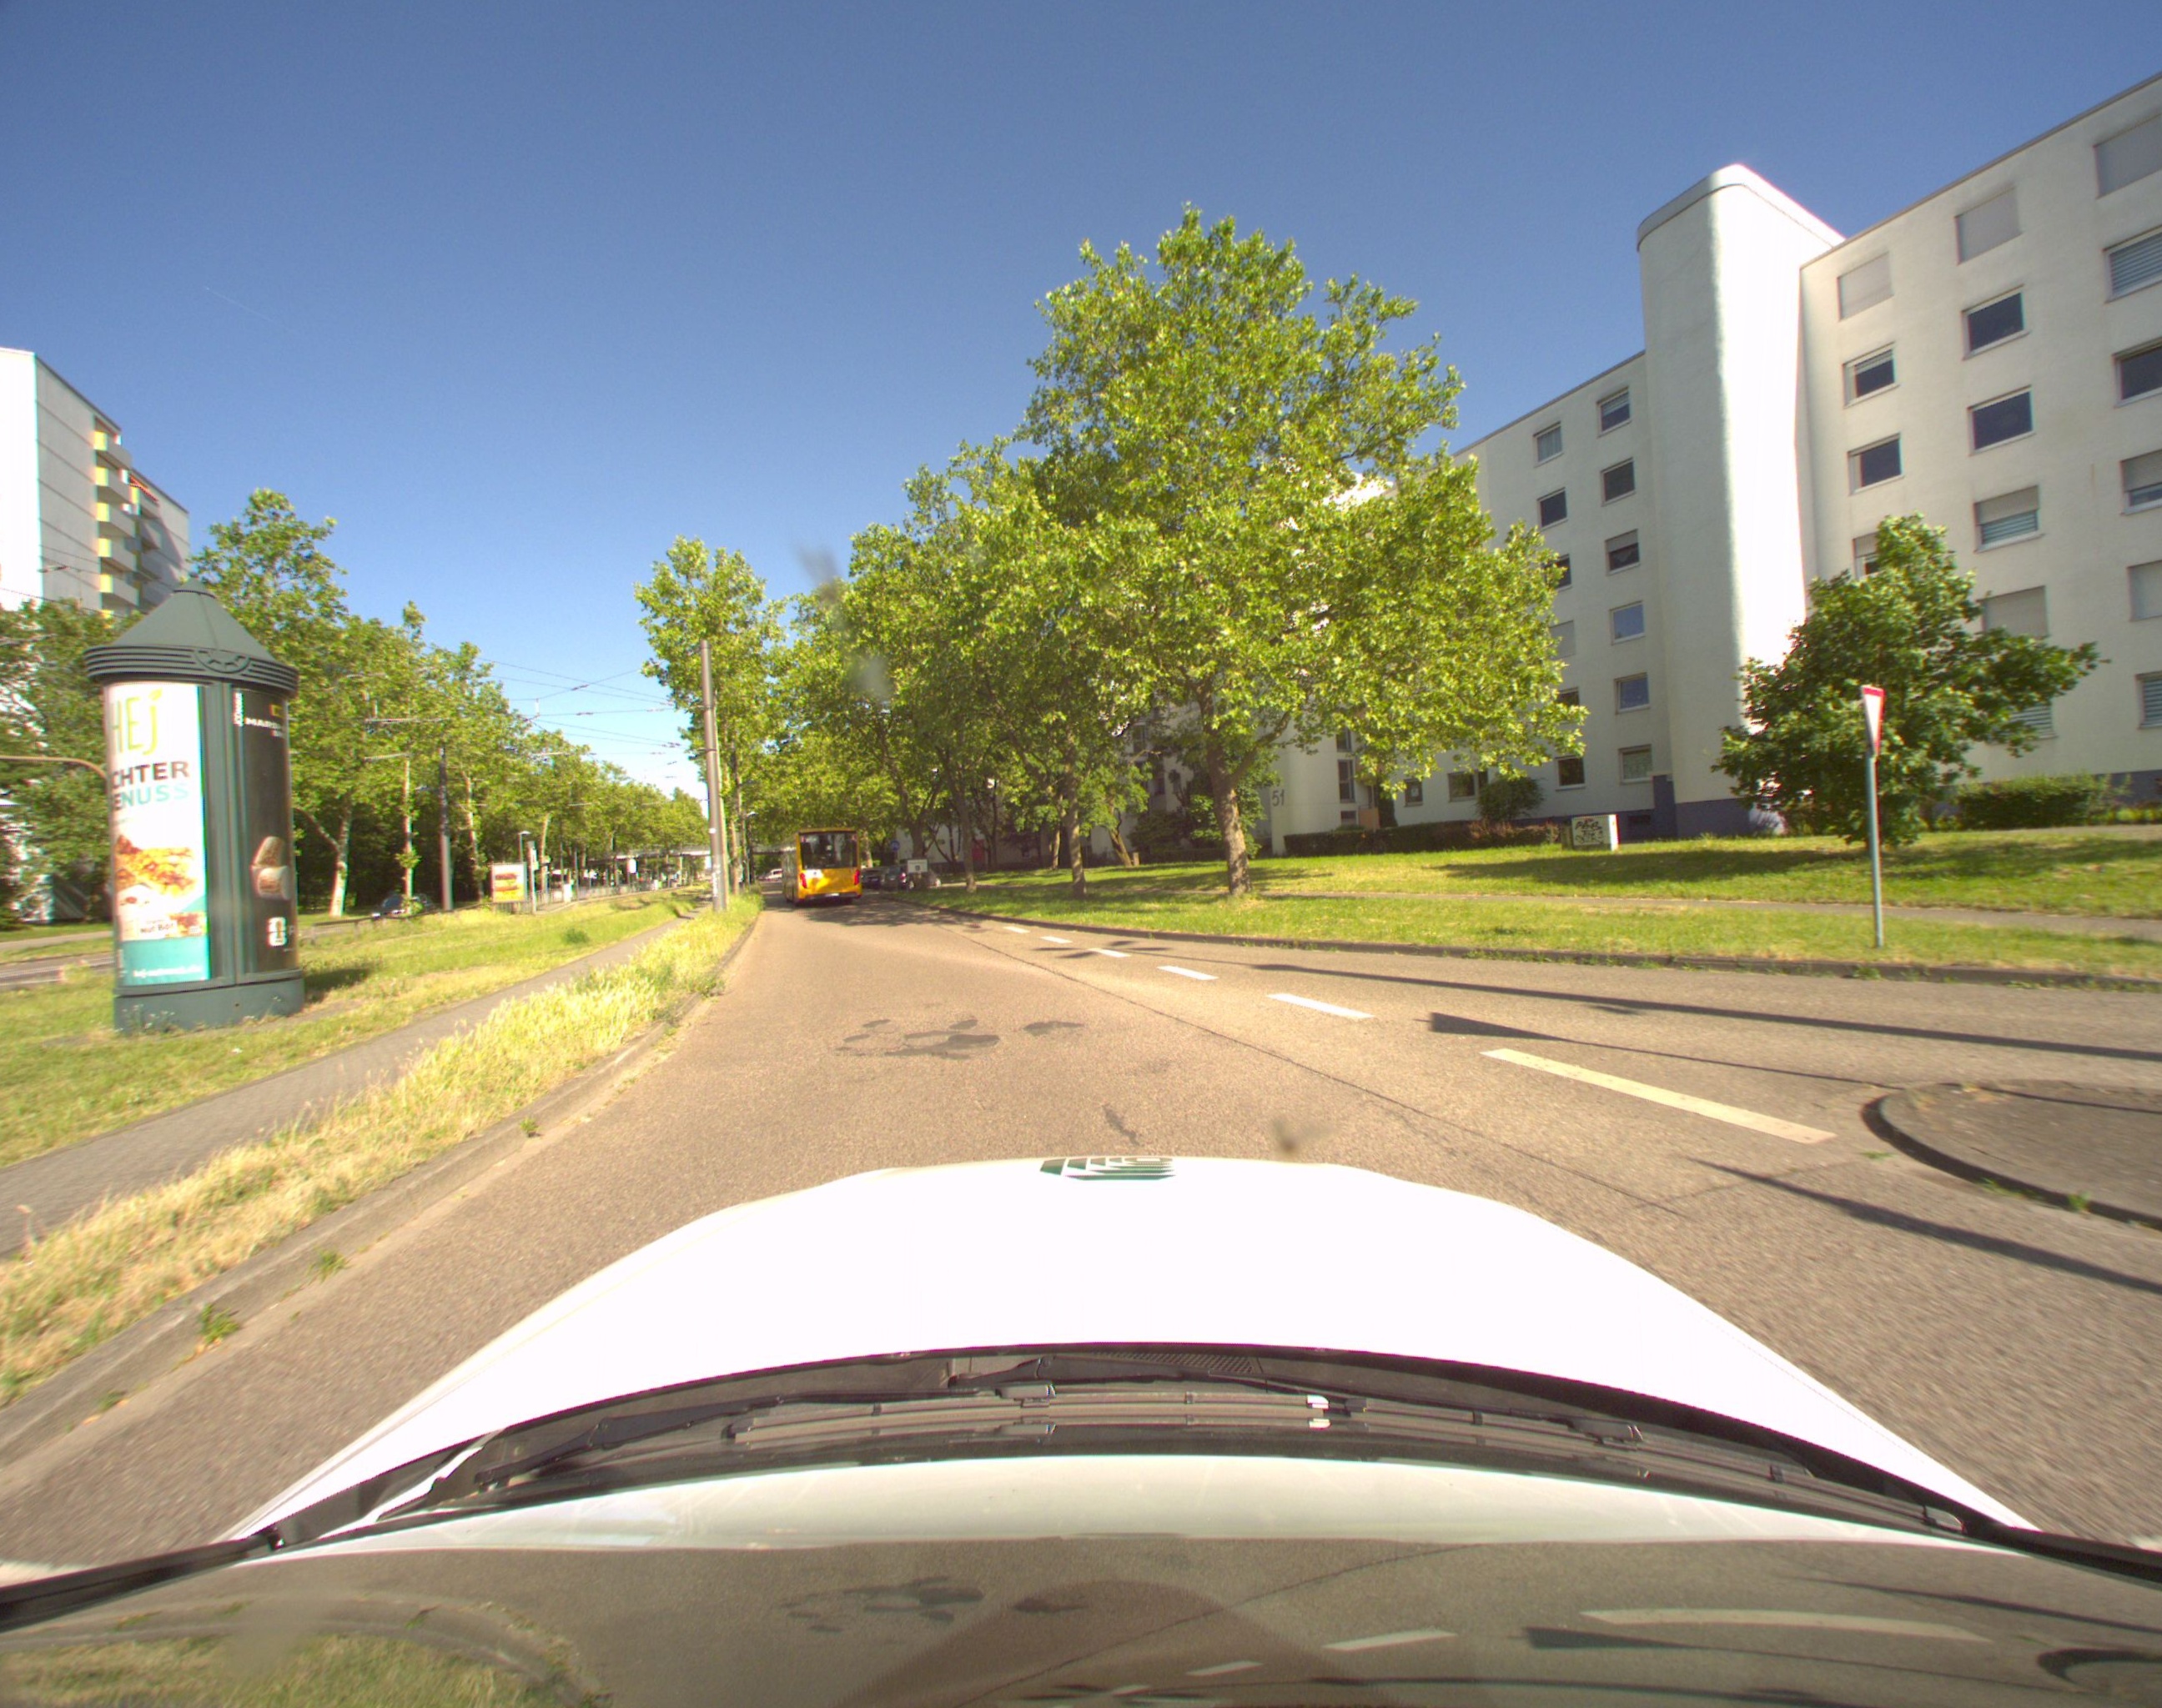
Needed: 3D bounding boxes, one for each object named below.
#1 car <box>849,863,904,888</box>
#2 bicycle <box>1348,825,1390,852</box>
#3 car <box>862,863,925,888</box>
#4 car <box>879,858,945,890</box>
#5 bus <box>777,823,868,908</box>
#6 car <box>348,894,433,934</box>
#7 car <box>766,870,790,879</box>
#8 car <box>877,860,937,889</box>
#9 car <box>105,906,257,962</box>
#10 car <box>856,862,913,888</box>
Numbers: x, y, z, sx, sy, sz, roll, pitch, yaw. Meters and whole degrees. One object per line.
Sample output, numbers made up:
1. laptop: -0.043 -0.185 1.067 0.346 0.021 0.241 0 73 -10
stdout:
1. car: -15.353 1.583 61.251 1.779 1.510 4.200 -4 1 21
2. bicycle: 12.981 -0.679 36.721 0.502 1.107 1.783 -9 3 -28
3. car: -12.591 1.439 54.908 1.777 1.317 4.173 -4 1 28
4. car: -10.134 1.201 49.051 1.777 1.592 3.750 -4 1 27
5. bus: -12.504 0.602 38.505 2.912 3.266 12.123 -3 0 -23
6. car: -33.466 2.852 39.585 1.801 1.616 4.202 -4 0 -21
7. car: -61.195 4.071 164.506 3.986 1.510 1.794 -4 0 -9
8. car: -11.154 1.305 52.339 1.777 1.491 3.606 -4 1 26
9. car: -31.452 2.746 28.653 1.801 1.510 4.236 -4 0 -21
10. car: -13.987 1.487 58.185 1.778 1.445 3.911 -4 1 24
